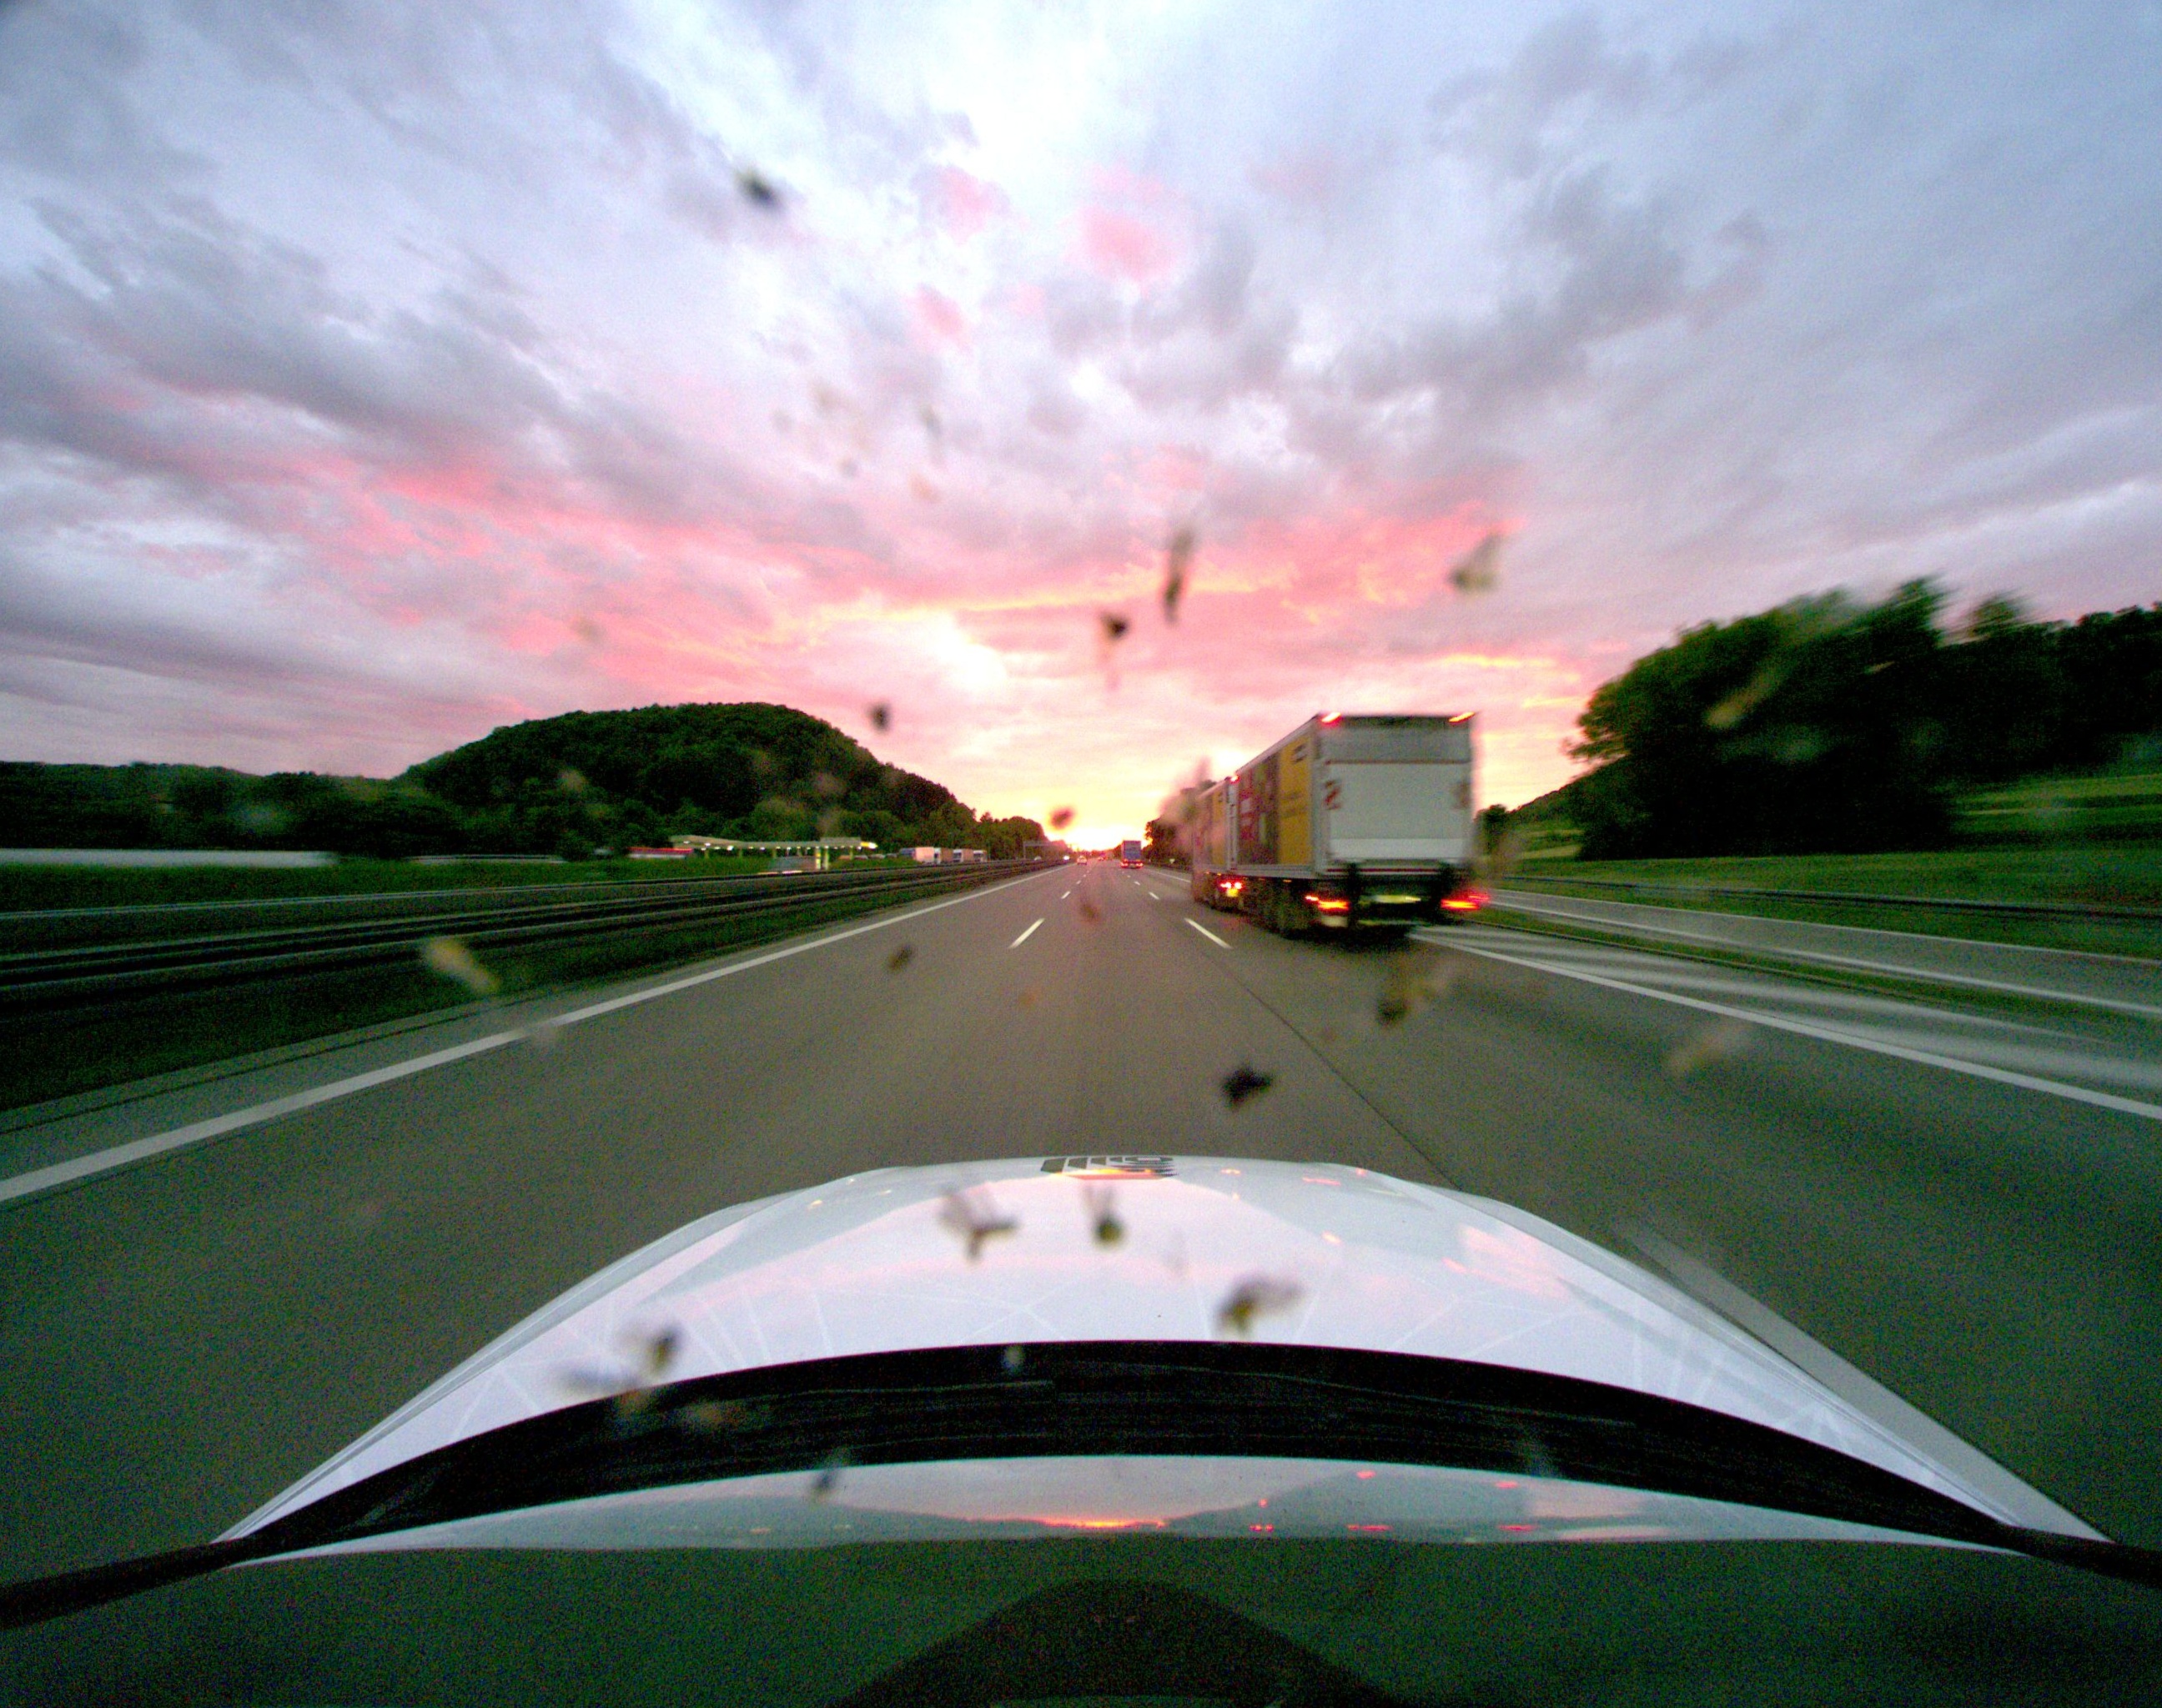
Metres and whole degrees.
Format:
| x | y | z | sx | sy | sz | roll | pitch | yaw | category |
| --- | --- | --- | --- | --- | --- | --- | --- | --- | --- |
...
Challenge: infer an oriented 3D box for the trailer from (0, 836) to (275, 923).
| x | y | z | sx | sy | sz | roll | pitch | yaw | category |
| --- | --- | --- | --- | --- | --- | --- | --- | --- | --- |
| -39.434 | 0.933 | 32.662 | 2.856 | 3.088 | 11.164 | 0 | 0 | 2 | trailer |

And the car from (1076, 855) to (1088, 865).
| x | y | z | sx | sy | sz | roll | pitch | yaw | category |
| --- | --- | --- | --- | --- | --- | --- | --- | --- | --- |
| 0.182 | 1.203 | 151.982 | 2.006 | 1.749 | 3.903 | -3 | 0 | 0 | car |

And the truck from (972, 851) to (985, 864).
| x | y | z | sx | sy | sz | roll | pitch | yaw | category |
| --- | --- | --- | --- | --- | --- | --- | --- | --- | --- |
| -26.864 | 0.866 | 213.584 | 2.866 | 3.425 | 6.719 | 1 | 0 | -3 | truck |

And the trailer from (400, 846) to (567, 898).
| x | y | z | sx | sy | sz | roll | pitch | yaw | category |
| --- | --- | --- | --- | --- | --- | --- | --- | --- | --- |
| -39.051 | 1.103 | 54.004 | 2.858 | 3.088 | 11.157 | 0 | 0 | 0 | trailer |

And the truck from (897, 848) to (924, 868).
| x | y | z | sx | sy | sz | roll | pitch | yaw | category |
| --- | --- | --- | --- | --- | --- | --- | --- | --- | --- |
| -30.268 | 0.706 | 144.940 | 2.862 | 3.376 | 7.179 | 1 | 0 | 3 | truck |

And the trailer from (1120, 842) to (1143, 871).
| x | y | z | sx | sy | sz | roll | pitch | yaw | category |
| --- | --- | --- | --- | --- | --- | --- | --- | --- | --- |
| 7.408 | 0.391 | 121.753 | 2.762 | 4.086 | 13.740 | 1 | -1 | 1 | trailer |

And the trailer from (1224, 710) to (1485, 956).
| x | y | z | sx | sy | sz | roll | pitch | yaw | category |
| --- | --- | --- | --- | --- | --- | --- | --- | --- | --- |
| 5.028 | -0.284 | 17.092 | 2.607 | 3.827 | 8.878 | 0 | -1 | 1 | trailer |

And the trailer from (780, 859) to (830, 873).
| x | y | z | sx | sy | sz | roll | pitch | yaw | category |
| --- | --- | --- | --- | --- | --- | --- | --- | --- | --- |
| -73.311 | 3.066 | 216.467 | 2.903 | 3.519 | 13.504 | -1 | -1 | 35 | trailer |

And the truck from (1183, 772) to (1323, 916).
| x | y | z | sx | sy | sz | roll | pitch | yaw | category |
| --- | --- | --- | --- | --- | --- | --- | --- | --- | --- |
| 5.199 | -0.207 | 26.756 | 2.607 | 3.827 | 10.388 | 0 | -1 | 1 | truck |

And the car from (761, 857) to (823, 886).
| x | y | z | sx | sy | sz | roll | pitch | yaw | category |
| --- | --- | --- | --- | --- | --- | --- | --- | --- | --- |
| -18.726 | 1.097 | 53.034 | 1.986 | 1.701 | 5.117 | -3 | 0 | 1 | car |

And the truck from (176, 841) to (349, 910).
| x | y | z | sx | sy | sz | roll | pitch | yaw | category |
| --- | --- | --- | --- | --- | --- | --- | --- | --- | --- |
| -39.196 | 0.985 | 39.264 | 2.856 | 3.088 | 5.306 | 0 | -1 | 2 | truck |

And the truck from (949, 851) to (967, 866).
| x | y | z | sx | sy | sz | roll | pitch | yaw | category |
| --- | --- | --- | --- | --- | --- | --- | --- | --- | --- |
| -28.478 | 0.974 | 189.336 | 2.862 | 3.425 | 6.730 | 1 | 0 | 2 | truck |

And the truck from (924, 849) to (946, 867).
| x | y | z | sx | sy | sz | roll | pitch | yaw | category |
| --- | --- | --- | --- | --- | --- | --- | --- | --- | --- |
| -29.435 | 0.779 | 164.381 | 2.862 | 3.425 | 6.729 | 1 | 0 | 2 | truck |

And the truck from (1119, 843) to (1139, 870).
| x | y | z | sx | sy | sz | roll | pitch | yaw | category |
| --- | --- | --- | --- | --- | --- | --- | --- | --- | --- |
| 7.539 | 0.427 | 128.218 | 2.727 | 3.996 | 5.850 | 1 | -1 | 1 | truck |

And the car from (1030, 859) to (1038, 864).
| x | y | z | sx | sy | sz | roll | pitch | yaw | category |
| --- | --- | --- | --- | --- | --- | --- | --- | --- | --- |
| -14.938 | 2.347 | 258.738 | 1.986 | 1.593 | 4.741 | 1 | 0 | 1 | car |

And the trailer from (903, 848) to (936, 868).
| x | y | z | sx | sy | sz | roll | pitch | yaw | category |
| --- | --- | --- | --- | --- | --- | --- | --- | --- | --- |
| -29.944 | 0.693 | 151.779 | 2.862 | 3.425 | 13.233 | 1 | 0 | 3 | trailer |
